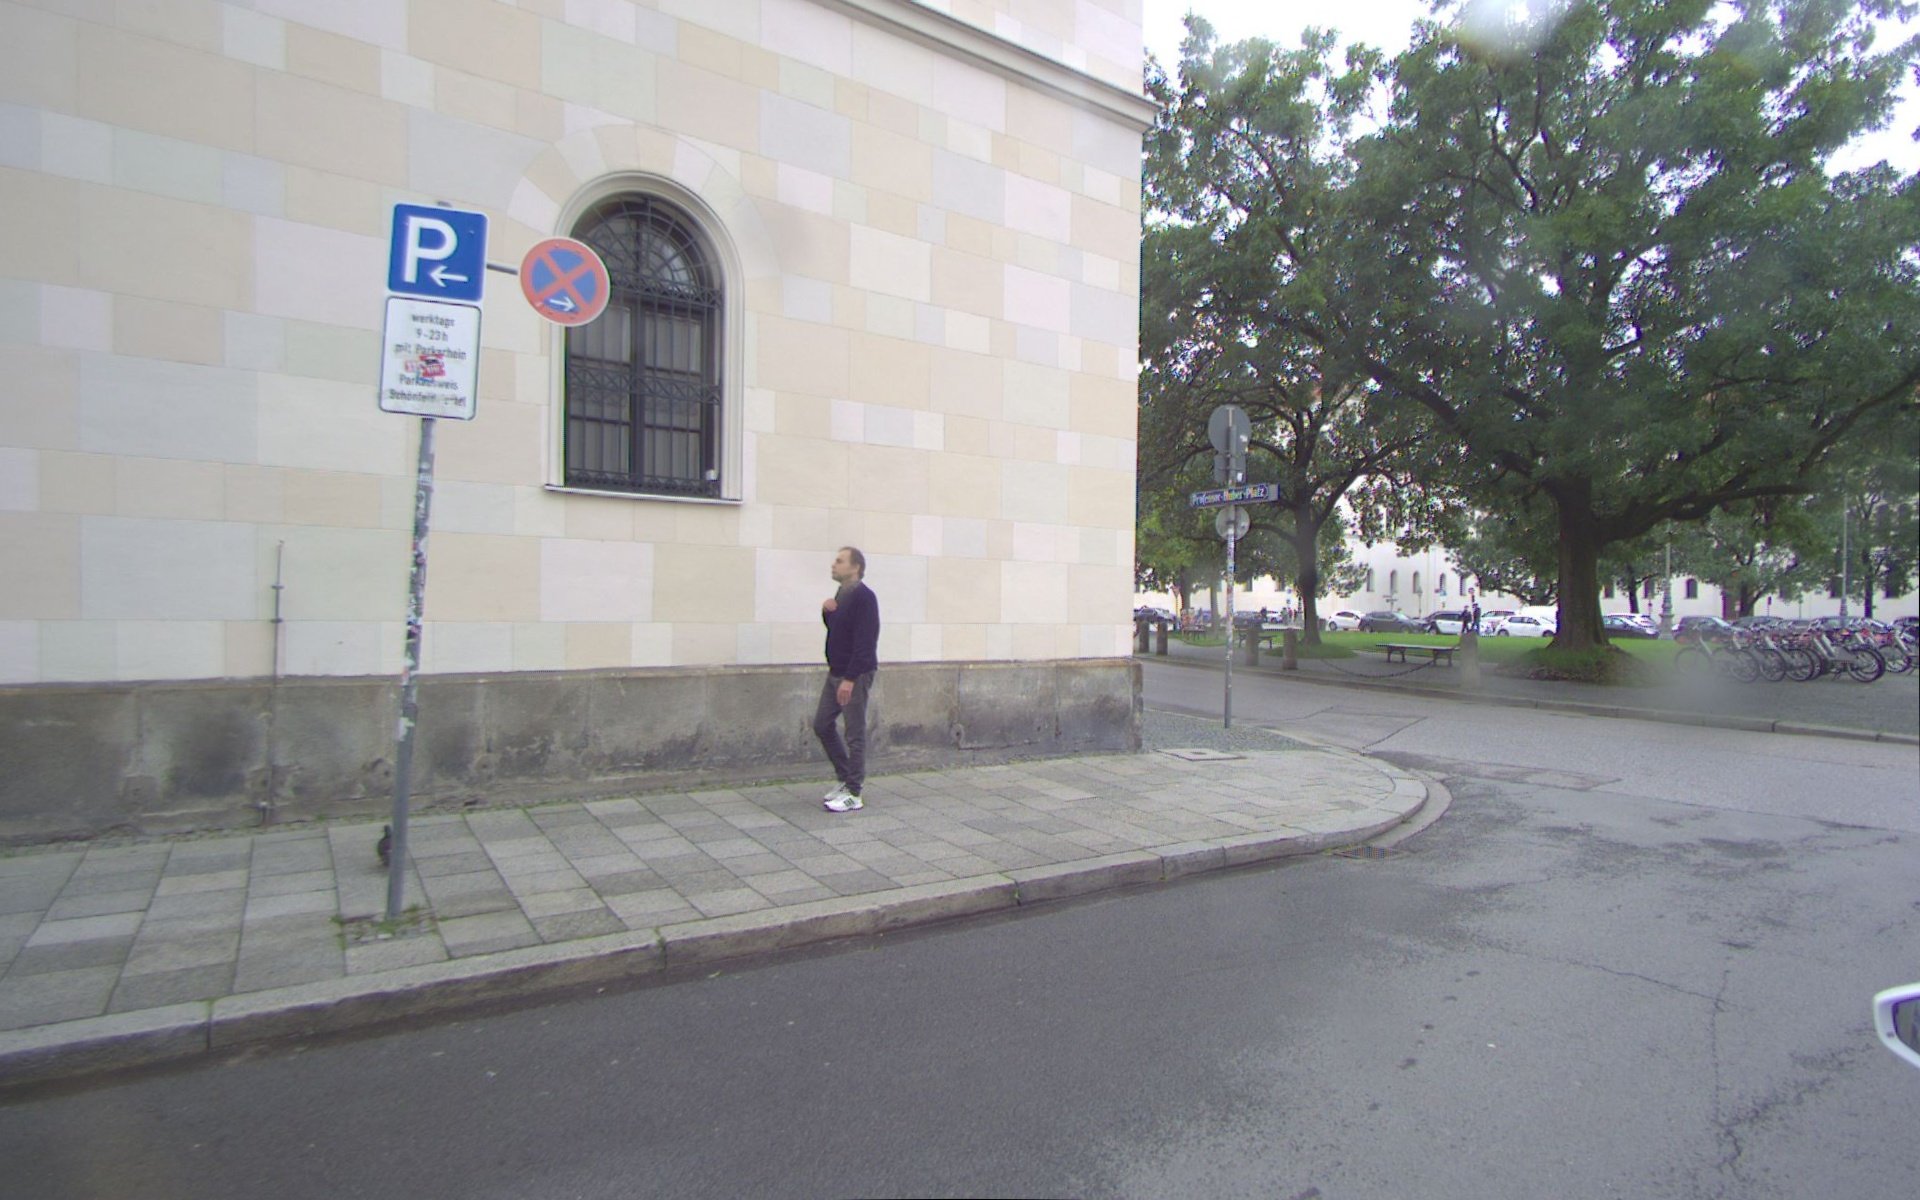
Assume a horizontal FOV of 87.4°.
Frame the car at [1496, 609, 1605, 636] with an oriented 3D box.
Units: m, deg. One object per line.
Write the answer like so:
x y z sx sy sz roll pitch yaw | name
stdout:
33.053 1.240 56.378 1.980 1.394 4.935 0 0 -35 | car

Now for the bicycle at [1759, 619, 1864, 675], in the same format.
18.657 1.007 22.046 0.688 1.113 1.615 0 1 -22 | bicycle

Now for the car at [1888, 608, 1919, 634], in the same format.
77.584 1.728 82.328 2.108 2.041 4.168 1 1 42 | car

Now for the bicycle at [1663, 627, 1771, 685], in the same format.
15.223 1.102 20.242 0.688 1.049 1.615 0 1 -22 | bicycle

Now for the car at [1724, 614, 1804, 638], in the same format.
50.275 1.597 62.856 1.587 1.394 3.647 0 0 -35 | car

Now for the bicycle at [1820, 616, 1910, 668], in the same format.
20.920 0.955 23.253 0.647 1.113 1.398 0 1 -22 | bicycle

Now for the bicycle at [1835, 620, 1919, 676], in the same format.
20.022 1.010 21.572 0.688 1.113 1.706 0 1 -22 | bicycle

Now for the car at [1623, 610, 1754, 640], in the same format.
36.840 1.210 50.911 1.980 1.394 5.040 0 0 -35 | car

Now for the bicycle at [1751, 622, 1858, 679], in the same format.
18.028 1.055 21.487 0.688 1.113 1.615 0 1 -22 | bicycle

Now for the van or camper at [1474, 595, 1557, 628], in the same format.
37.920 0.838 68.716 1.981 2.040 4.549 2 -4 -36 | van or camper

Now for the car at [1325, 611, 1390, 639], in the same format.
28.730 1.790 72.622 1.842 1.887 3.953 0 1 -40 | car

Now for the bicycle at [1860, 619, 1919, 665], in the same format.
22.515 0.996 23.873 0.688 1.033 1.532 0 1 -22 | bicycle

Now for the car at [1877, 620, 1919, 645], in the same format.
55.613 1.913 58.048 1.587 1.394 3.645 0 0 -36 | car

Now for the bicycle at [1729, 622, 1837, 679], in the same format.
17.314 1.037 21.173 0.688 1.113 1.615 0 1 -22 | bicycle

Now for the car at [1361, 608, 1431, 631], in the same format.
27.679 1.221 63.889 1.587 1.394 3.880 0 0 -35 | car

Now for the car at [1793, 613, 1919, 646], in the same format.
40.208 1.291 45.099 1.980 1.394 3.961 0 0 -35 | car

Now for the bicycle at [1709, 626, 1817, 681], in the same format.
16.649 1.083 20.861 0.688 1.049 1.615 0 1 -22 | bicycle

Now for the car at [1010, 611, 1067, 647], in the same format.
4.869 1.717 61.703 2.131 2.041 4.836 1 1 21 | car

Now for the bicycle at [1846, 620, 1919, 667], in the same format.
21.803 1.006 23.453 0.688 1.033 1.532 0 1 -22 | bicycle

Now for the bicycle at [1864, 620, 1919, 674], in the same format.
20.722 1.018 21.722 0.607 1.113 1.615 0 1 -22 | bicycle

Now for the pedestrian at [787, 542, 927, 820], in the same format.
-0.713 0.523 6.908 0.683 1.772 0.749 0 -1 -36 | pedestrian

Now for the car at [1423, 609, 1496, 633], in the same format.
30.064 1.264 60.579 1.587 1.394 3.647 0 0 -35 | car

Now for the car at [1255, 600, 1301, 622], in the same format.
31.515 1.057 99.736 1.980 2.041 3.960 0 1 -35 | car

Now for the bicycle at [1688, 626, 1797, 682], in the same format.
15.979 1.084 20.549 0.688 1.049 1.615 0 1 -22 | bicycle

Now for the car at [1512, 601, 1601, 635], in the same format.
37.727 1.105 63.614 1.983 2.040 4.500 0 0 -39 | car

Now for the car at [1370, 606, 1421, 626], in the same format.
32.971 1.197 76.083 1.495 1.394 3.226 0 0 -35 | car
